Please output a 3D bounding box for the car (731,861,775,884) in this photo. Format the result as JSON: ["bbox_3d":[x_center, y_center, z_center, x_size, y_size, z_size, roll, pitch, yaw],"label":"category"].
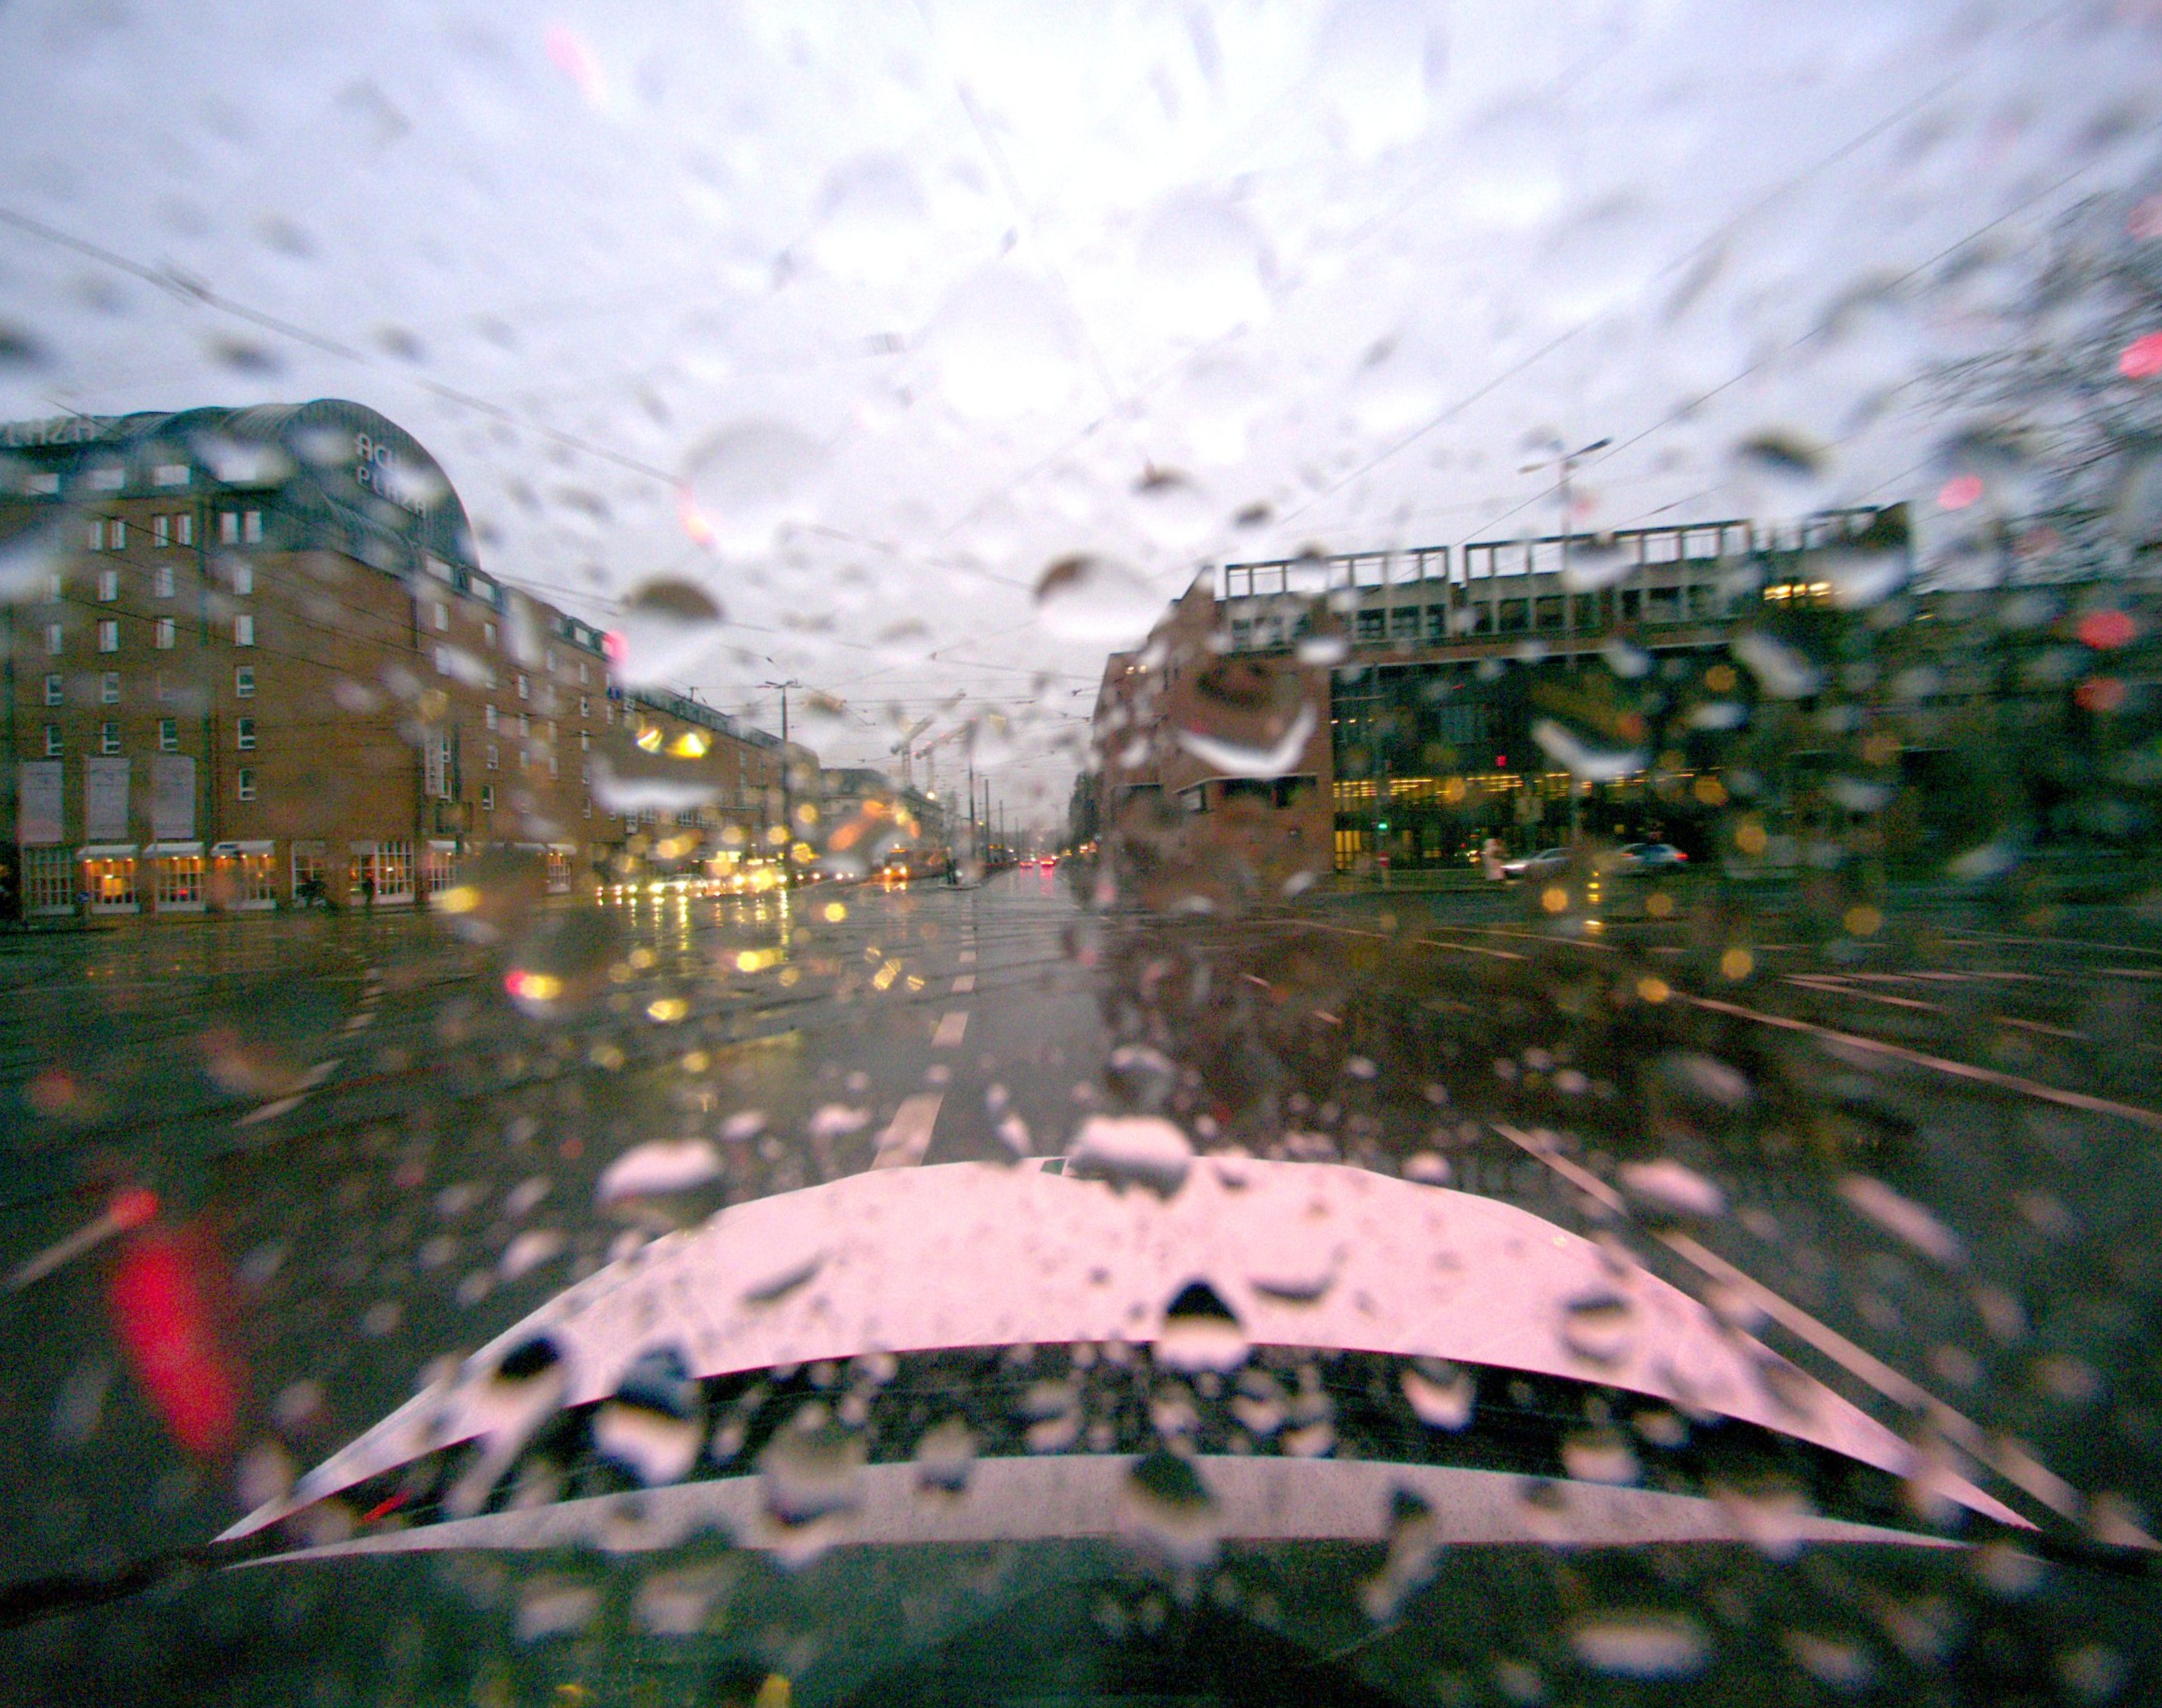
[{"bbox_3d":[-26.348,1.464,65.586,1.825,1.709,4.700,-1,0,-3],"label":"car"}]

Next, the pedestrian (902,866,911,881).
[{"bbox_3d":[-14.221,1.588,66.432,0.578,1.152,0.490,0,-1,-1],"label":"pedestrian"}]

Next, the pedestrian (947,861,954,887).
[{"bbox_3d":[-8.997,1.385,56.043,0.433,1.735,0.472,-1,-1,-8],"label":"pedestrian"}]

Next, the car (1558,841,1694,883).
[{"bbox_3d":[20.868,0.310,31.307,3.968,1.341,1.814,-3,0,0],"label":"car"}]

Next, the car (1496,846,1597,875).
[{"bbox_3d":[22.983,0.309,40.298,3.969,1.310,1.814,-1,0,-1],"label":"car"}]

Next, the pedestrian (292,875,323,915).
[{"bbox_3d":[-39.616,2.082,41.700,0.938,2.014,0.753,-1,-1,-26],"label":"pedestrian"}]

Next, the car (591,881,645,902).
[{"bbox_3d":[-33.696,2.693,59.395,1.607,1.321,4.225,-2,0,-2],"label":"car"}]

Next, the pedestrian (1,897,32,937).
[{"bbox_3d":[-42.064,2.476,32.191,0.514,1.538,0.577,-2,0,16],"label":"pedestrian"}]

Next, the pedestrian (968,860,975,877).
[{"bbox_3d":[-10.498,1.413,78.030,0.617,1.590,0.621,-1,-1,-5],"label":"pedestrian"}]

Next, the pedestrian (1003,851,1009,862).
[{"bbox_3d":[-10.793,0.376,116.873,0.681,1.516,0.615,-1,-1,-15],"label":"pedestrian"}]

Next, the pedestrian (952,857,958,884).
[{"bbox_3d":[-8.425,1.125,54.319,0.359,1.787,0.439,-1,-1,-8],"label":"pedestrian"}]

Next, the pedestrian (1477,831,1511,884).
[{"bbox_3d":[14.466,0.123,28.557,0.733,1.787,0.733,-2,0,-6],"label":"pedestrian"}]

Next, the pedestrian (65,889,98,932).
[{"bbox_3d":[-36.719,2.076,29.916,0.514,1.538,0.577,-2,0,16],"label":"pedestrian"}]

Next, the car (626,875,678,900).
[{"bbox_3d":[-28.683,2.206,54.560,1.577,1.495,3.593,-2,0,-1],"label":"car"}]

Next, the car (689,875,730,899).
[{"bbox_3d":[-29.600,2.587,65.019,1.679,1.709,3.852,-1,0,-3],"label":"car"}]

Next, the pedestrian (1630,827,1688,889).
[{"bbox_3d":[17.285,0.113,24.374,1.145,1.787,0.777,-2,0,-2],"label":"pedestrian"}]

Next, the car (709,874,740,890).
[{"bbox_3d":[-37.152,2.876,84.947,1.608,1.491,4.222,-2,0,-4],"label":"car"}]

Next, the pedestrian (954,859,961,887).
[{"bbox_3d":[-8.338,1.252,54.818,0.411,1.845,0.668,-1,-1,-8],"label":"pedestrian"}]

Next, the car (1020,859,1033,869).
[{"bbox_3d":[-9.074,1.661,135.713,1.779,1.467,3.147,-2,0,-1],"label":"car"}]

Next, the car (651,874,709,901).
[{"bbox_3d":[-25.754,2.118,52.417,1.663,1.495,4.198,-2,0,-1],"label":"car"}]

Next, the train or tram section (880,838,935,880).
[{"bbox_3d":[-15.958,0.419,75.989,2.942,3.589,12.245,0,0,-2],"label":"train or tram section"}]

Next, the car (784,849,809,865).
[{"bbox_3d":[-36.938,0.342,105.937,1.989,2.014,3.996,0,0,-3],"label":"car"}]

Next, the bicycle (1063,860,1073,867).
[{"bbox_3d":[-2.290,1.637,140.712,1.726,1.055,0.371,-3,0,-4],"label":"bicycle"}]

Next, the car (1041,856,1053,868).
[{"bbox_3d":[-6.035,1.416,143.779,1.987,2.013,3.999,-2,0,-1],"label":"car"}]

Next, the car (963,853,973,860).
[{"bbox_3d":[-23.117,0.569,167.158,1.678,1.354,3.541,-1,-1,-3],"label":"car"}]

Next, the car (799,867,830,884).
[{"bbox_3d":[-22.875,1.843,70.068,1.678,1.354,3.541,-1,-1,-3],"label":"car"}]

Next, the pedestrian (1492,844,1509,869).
[{"bbox_3d":[23.685,0.162,45.988,0.731,1.389,0.740,-2,0,18],"label":"pedestrian"}]
